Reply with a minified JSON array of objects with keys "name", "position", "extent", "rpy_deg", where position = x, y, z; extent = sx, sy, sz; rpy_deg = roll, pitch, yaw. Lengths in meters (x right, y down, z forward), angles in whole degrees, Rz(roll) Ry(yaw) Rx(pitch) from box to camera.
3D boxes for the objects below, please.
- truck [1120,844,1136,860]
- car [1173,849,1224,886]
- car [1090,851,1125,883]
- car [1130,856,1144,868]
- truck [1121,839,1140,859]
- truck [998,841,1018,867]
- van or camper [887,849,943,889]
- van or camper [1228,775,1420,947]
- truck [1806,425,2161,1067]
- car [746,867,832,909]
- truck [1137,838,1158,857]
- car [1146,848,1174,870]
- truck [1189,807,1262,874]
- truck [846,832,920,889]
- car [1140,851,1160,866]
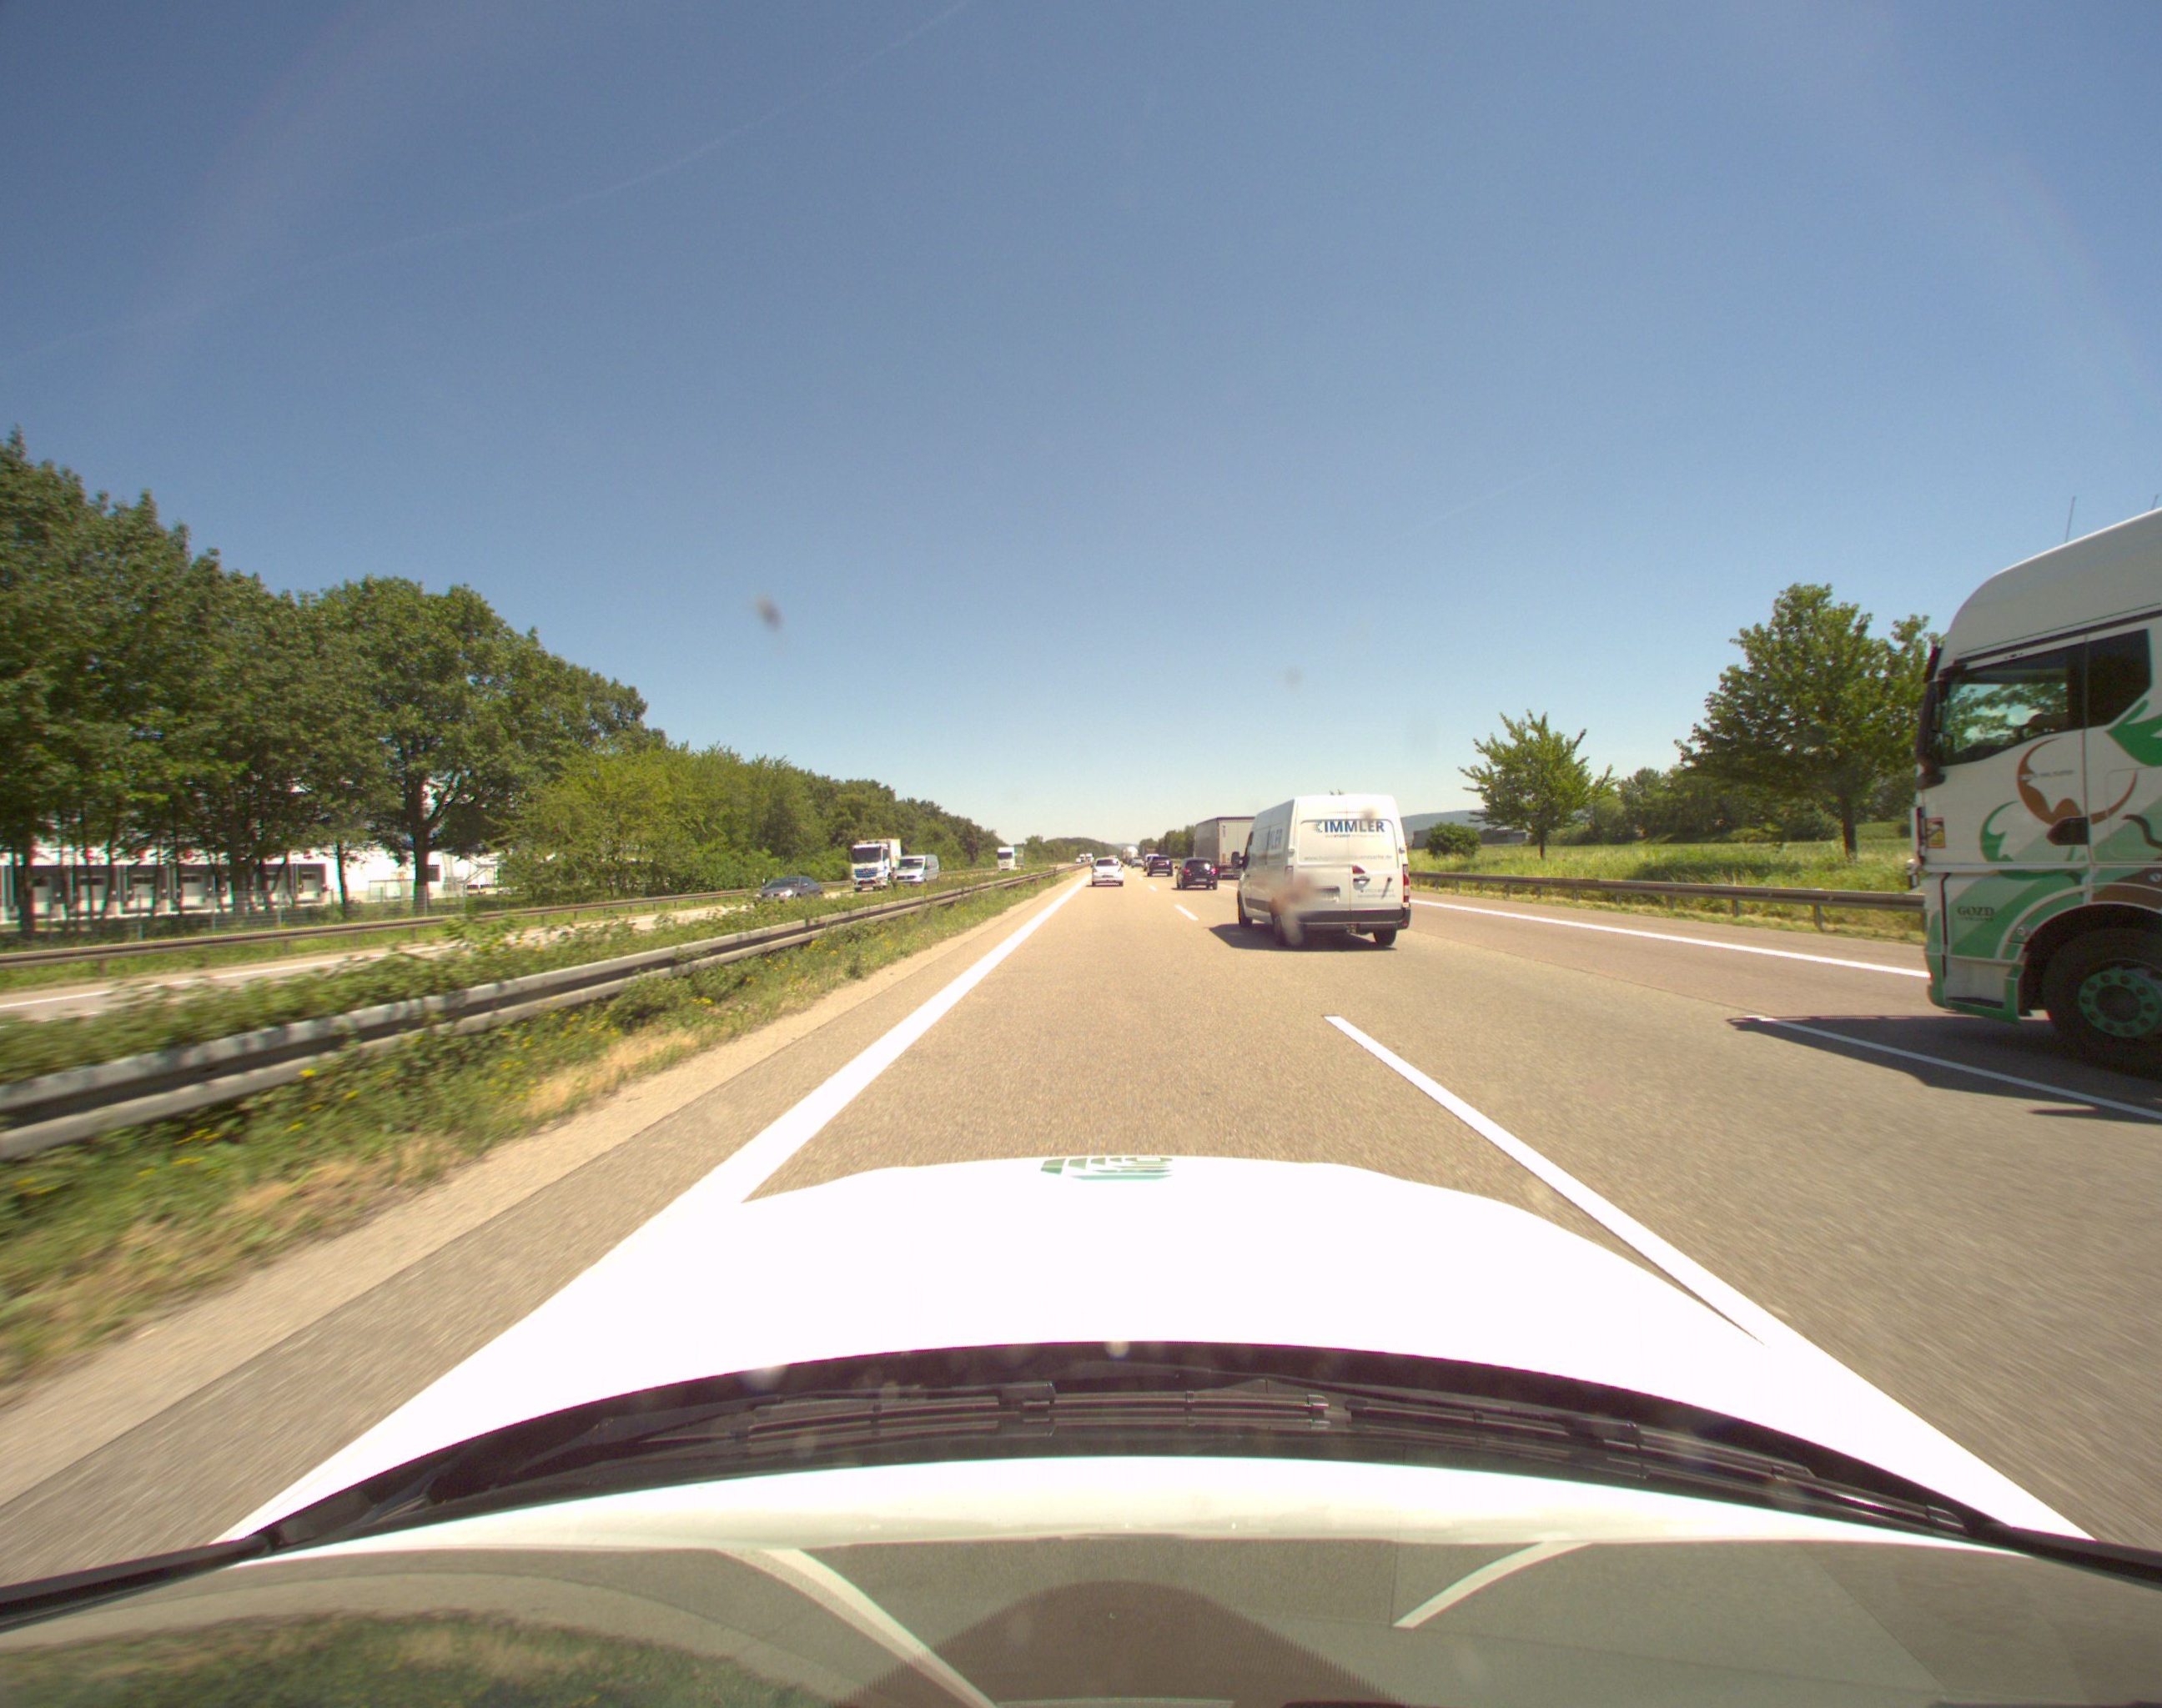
[{"name":"truck","position":[12.635,-0.526,221.244],"extent":[3.247,4.209,16.838],"rpy_deg":[0,0,0]},{"name":"car","position":[5.473,0.602,38.391],"extent":[1.851,1.652,4.000],"rpy_deg":[-1,0,0]},{"name":"car","position":[1.397,0.660,44.256],"extent":[1.851,1.652,4.000],"rpy_deg":[0,0,0]},{"name":"car","position":[8.120,1.083,117.964],"extent":[1.851,1.652,4.000],"rpy_deg":[-1,0,0]},{"name":"truck","position":[10.969,-1.044,182.761],"extent":[3.247,4.209,16.838],"rpy_deg":[0,0,0]},{"name":"truck","position":[-11.642,0.004,130.317],"extent":[2.407,4.093,5.883],"rpy_deg":[-1,0,2]},{"name":"van or camper","position":[-10.743,0.897,53.201],"extent":[2.050,2.353,6.078],"rpy_deg":[-3,0,2]},{"name":"van or camper","position":[4.298,0.098,15.622],"extent":[2.050,2.622,5.988],"rpy_deg":[-1,0,2]},{"name":"truck","position":[8.034,-0.676,4.289],"extent":[2.660,3.994,6.639],"rpy_deg":[-1,0,2]},{"name":"car","position":[-12.123,1.371,34.140],"extent":[1.851,1.439,4.598],"rpy_deg":[-3,0,0]},{"name":"truck","position":[14.880,-1.433,184.352],"extent":[3.247,4.209,16.838],"rpy_deg":[0,0,0]},{"name":"car","position":[6.184,0.394,64.036],"extent":[1.851,1.652,4.000],"rpy_deg":[-1,0,0]},{"name":"truck","position":[10.225,-0.868,59.621],"extent":[3.066,4.209,16.854],"rpy_deg":[0,0,3]},{"name":"truck","position":[-14.647,0.419,61.157],"extent":[2.595,3.761,9.870],"rpy_deg":[-3,0,2]},{"name":"car","position":[7.455,0.474,88.739],"extent":[1.851,1.652,4.000],"rpy_deg":[-1,0,0]}]
